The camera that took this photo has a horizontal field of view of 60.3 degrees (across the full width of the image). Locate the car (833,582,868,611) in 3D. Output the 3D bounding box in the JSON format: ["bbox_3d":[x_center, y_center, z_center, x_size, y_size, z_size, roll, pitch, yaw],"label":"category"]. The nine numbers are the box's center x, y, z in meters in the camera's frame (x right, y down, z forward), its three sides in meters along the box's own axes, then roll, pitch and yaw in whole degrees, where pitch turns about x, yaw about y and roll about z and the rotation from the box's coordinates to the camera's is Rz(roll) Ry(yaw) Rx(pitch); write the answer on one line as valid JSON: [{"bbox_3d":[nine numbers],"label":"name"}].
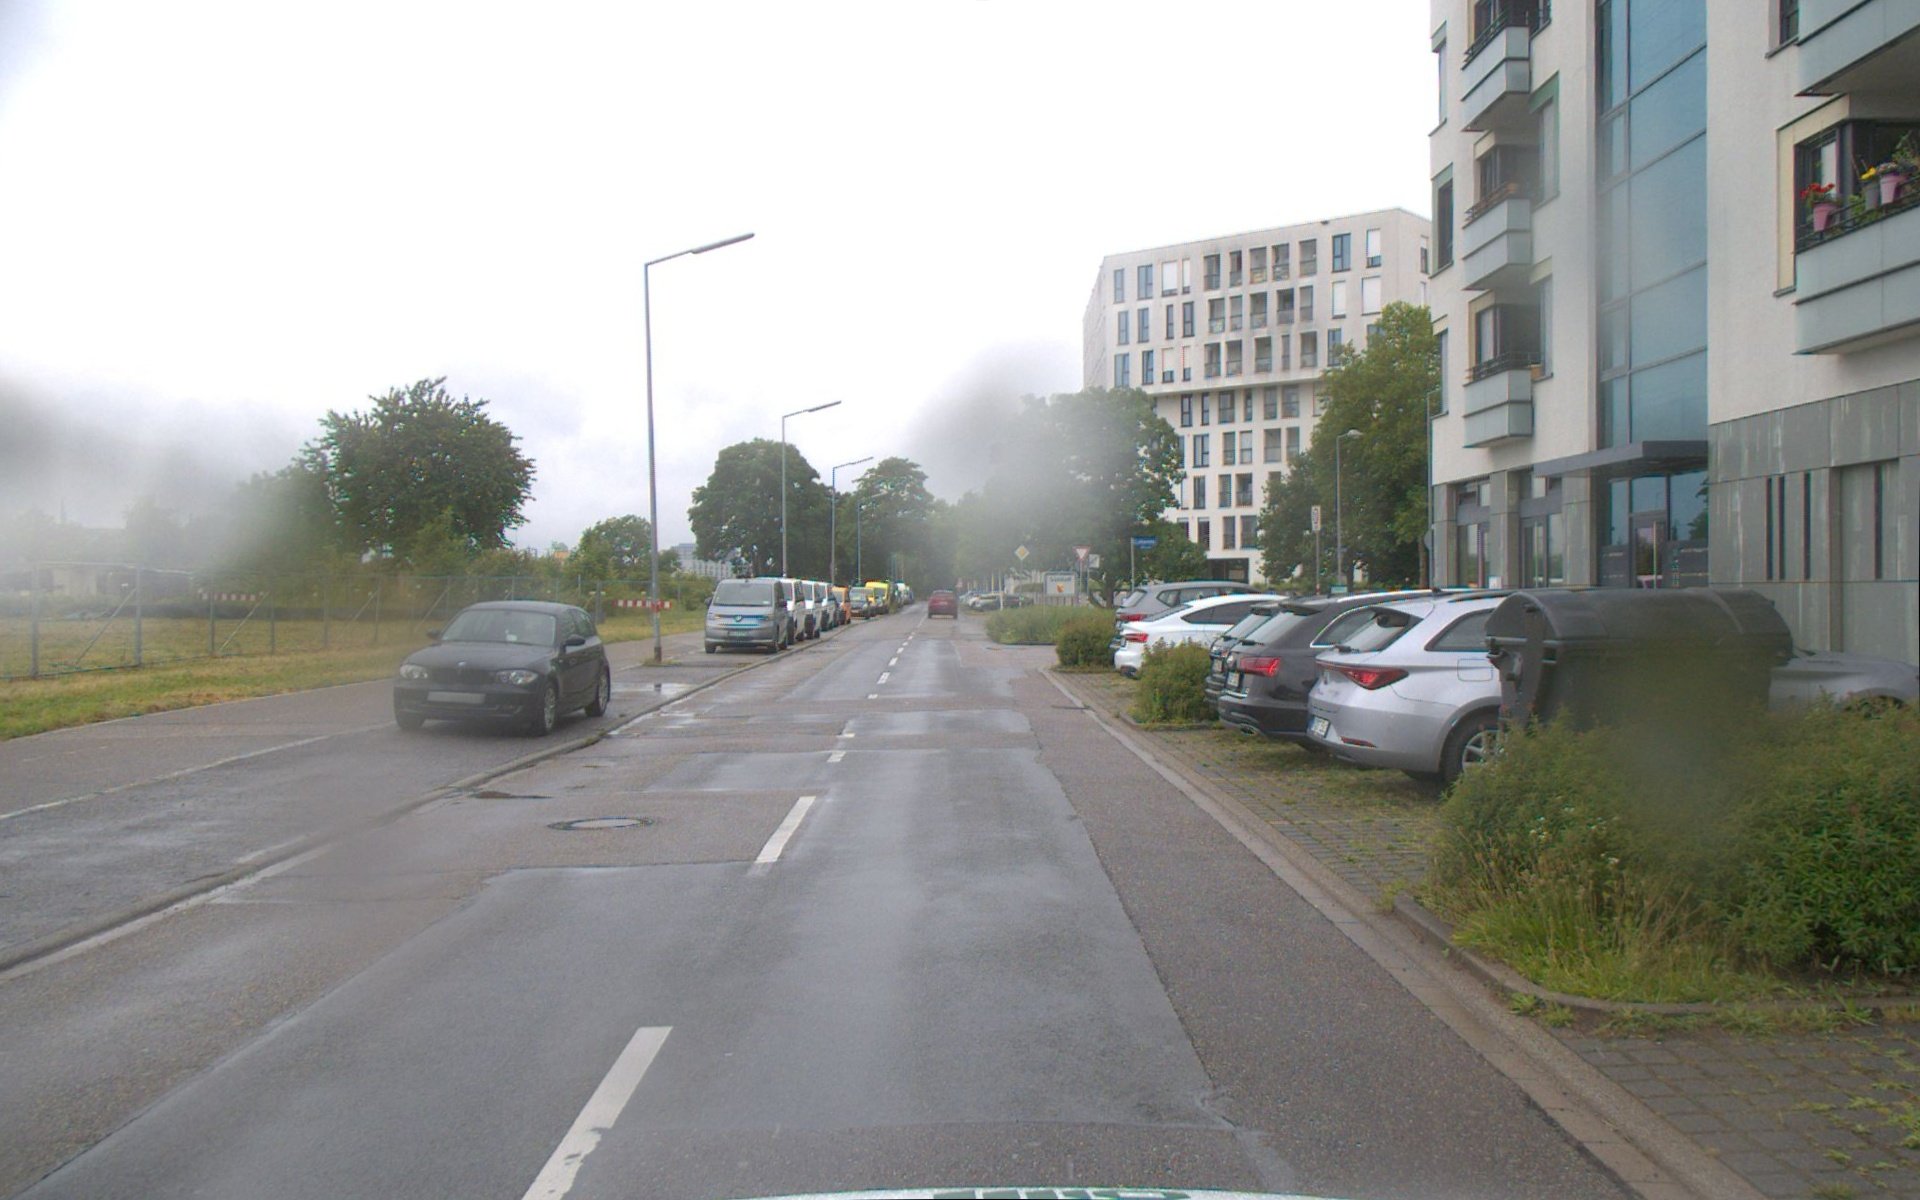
[{"bbox_3d":[-6.429,-0.201,97.814,1.767,1.588,4.032,2,1,-1],"label":"car"}]

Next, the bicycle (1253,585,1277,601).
[{"bbox_3d":[20.372,-0.501,110.312,0.711,1.051,2.064,0,0,38],"label":"bicycle"}]

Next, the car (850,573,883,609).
[{"bbox_3d":[-7.610,-0.720,134.579,2.147,2.741,6.082,2,0,1],"label":"car"}]

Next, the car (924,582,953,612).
[{"bbox_3d":[-1.320,-0.182,100.493,1.721,1.735,3.999,0,0,-2],"label":"car"}]

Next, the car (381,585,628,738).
[{"bbox_3d":[-5.336,0.645,19.930,1.809,1.588,4.152,2,0,-1],"label":"car"}]

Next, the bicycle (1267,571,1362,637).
[{"bbox_3d":[8.551,0.104,39.883,2.142,1.549,0.631,-1,0,20],"label":"bicycle"}]

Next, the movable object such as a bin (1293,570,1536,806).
[{"bbox_3d":[3.244,0.591,12.018,1.274,1.553,1.581,-2,0,-1],"label":"movable object such as a bin"}]

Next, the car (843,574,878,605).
[{"bbox_3d":[-6.624,-0.682,110.627,1.976,1.990,6.064,2,0,-1],"label":"car"}]

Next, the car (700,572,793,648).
[{"bbox_3d":[-5.668,0.235,44.439,1.916,1.935,4.994,0,1,-1],"label":"car"}]

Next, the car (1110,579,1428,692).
[{"bbox_3d":[4.520,0.504,24.660,4.320,1.429,1.910,-2,0,-1],"label":"car"}]

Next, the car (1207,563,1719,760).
[{"bbox_3d":[4.393,0.503,14.954,3.978,1.523,2.058,-2,1,0],"label":"car"}]

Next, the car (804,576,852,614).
[{"bbox_3d":[-6.423,-0.241,80.992,1.900,1.798,4.332,0,0,1],"label":"car"}]

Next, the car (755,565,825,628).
[{"bbox_3d":[-5.912,-0.138,58.121,1.920,2.094,5.274,1,1,0],"label":"car"}]

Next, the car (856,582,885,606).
[{"bbox_3d":[-6.630,-0.442,122.926,1.953,1.622,5.015,2,0,-2],"label":"car"}]

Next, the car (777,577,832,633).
[{"bbox_3d":[-6.509,0.182,69.777,1.903,2.275,5.556,0,1,-1],"label":"car"}]

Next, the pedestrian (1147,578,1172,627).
[{"bbox_3d":[8.380,0.085,69.583,0.945,2.049,0.622,0,1,-1],"label":"pedestrian"}]

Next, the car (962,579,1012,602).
[{"bbox_3d":[2.475,-0.893,153.110,4.451,1.714,1.884,-5,0,-4],"label":"car"}]

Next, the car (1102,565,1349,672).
[{"bbox_3d":[4.679,0.314,29.560,4.007,1.651,1.965,-3,0,-2],"label":"car"}]

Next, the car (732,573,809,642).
[{"bbox_3d":[-5.933,0.193,52.302,1.856,2.049,5.257,0,1,0],"label":"car"}]

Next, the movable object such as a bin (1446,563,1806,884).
[{"bbox_3d":[3.547,0.606,9.015,1.274,1.553,1.581,-2,0,-1],"label":"movable object such as a bin"}]

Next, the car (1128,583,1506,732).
[{"bbox_3d":[4.027,0.619,19.106,3.907,1.505,1.878,-2,1,-2],"label":"car"}]
